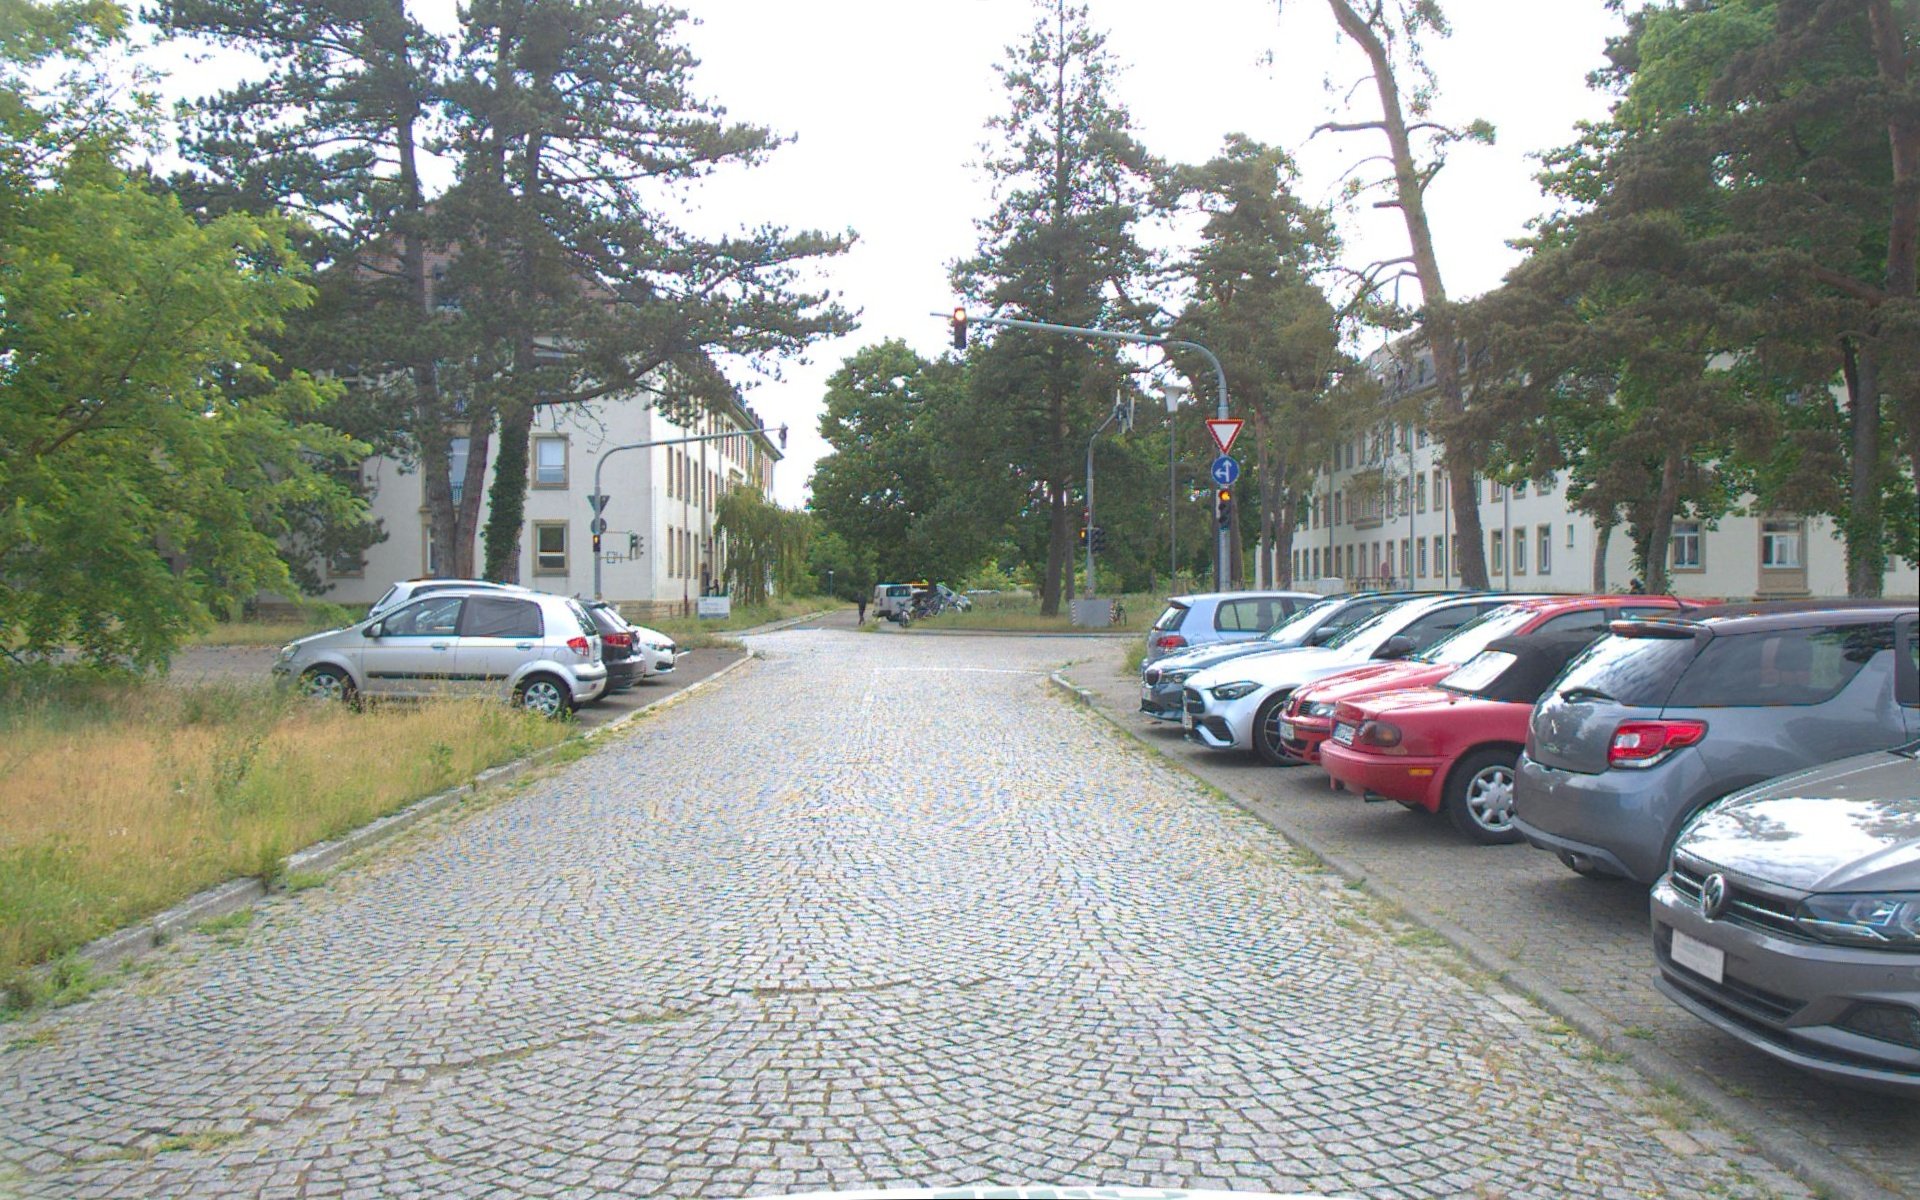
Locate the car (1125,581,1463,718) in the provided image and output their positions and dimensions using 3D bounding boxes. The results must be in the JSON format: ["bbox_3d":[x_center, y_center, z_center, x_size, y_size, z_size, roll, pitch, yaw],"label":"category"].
[{"bbox_3d":[4.100,0.586,20.687,3.847,1.503,1.642,-2,0,-1],"label":"car"}]

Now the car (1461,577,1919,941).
[{"bbox_3d":[4.669,0.656,8.187,3.786,1.498,1.757,-2,0,-4],"label":"car"}]

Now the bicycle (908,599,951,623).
[{"bbox_3d":[-1.389,0.496,76.481,1.932,1.088,0.583,0,0,-27],"label":"bicycle"}]

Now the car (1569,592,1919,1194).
[{"bbox_3d":[4.187,0.704,5.294,3.787,1.498,1.756,-2,0,-5],"label":"car"}]

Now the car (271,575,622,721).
[{"bbox_3d":[-5.941,0.545,19.461,3.631,1.505,1.581,2,0,-5],"label":"car"}]

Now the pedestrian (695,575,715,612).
[{"bbox_3d":[-13.050,-0.318,84.583,0.767,1.869,0.732,0,0,-34],"label":"pedestrian"}]

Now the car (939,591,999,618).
[{"bbox_3d":[0.465,0.244,91.378,3.169,1.441,1.723,-1,0,-5],"label":"car"}]

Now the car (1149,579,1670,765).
[{"bbox_3d":[4.152,0.611,15.549,4.343,1.441,1.866,-2,0,-11],"label":"car"}]

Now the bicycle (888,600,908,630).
[{"bbox_3d":[-2.482,0.601,66.081,0.591,1.152,1.958,0,0,-8],"label":"bicycle"}]

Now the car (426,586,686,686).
[{"bbox_3d":[-6.604,0.574,27.356,3.869,1.446,1.649,2,0,-3],"label":"car"}]

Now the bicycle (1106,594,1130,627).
[{"bbox_3d":[5.492,0.362,57.497,0.574,1.125,1.960,0,0,-2],"label":"bicycle"}]

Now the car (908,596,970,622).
[{"bbox_3d":[-1.072,0.439,84.066,2.949,1.290,1.532,-1,0,-8],"label":"car"}]

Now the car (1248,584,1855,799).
[{"bbox_3d":[4.601,0.670,13.298,4.177,1.441,1.870,-2,0,-3],"label":"car"}]

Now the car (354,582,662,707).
[{"bbox_3d":[-5.942,0.574,22.059,3.673,1.453,1.581,2,0,-5],"label":"car"}]

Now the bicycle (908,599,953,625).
[{"bbox_3d":[-1.272,0.524,71.447,1.936,1.088,0.581,0,0,-32],"label":"bicycle"}]

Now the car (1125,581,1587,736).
[{"bbox_3d":[4.264,0.599,18.242,4.589,1.441,1.869,-2,0,-5],"label":"car"}]

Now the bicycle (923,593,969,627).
[{"bbox_3d":[-0.613,0.418,70.822,1.919,1.408,0.587,0,0,-9],"label":"bicycle"}]

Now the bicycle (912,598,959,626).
[{"bbox_3d":[-1.026,0.482,69.340,1.919,1.152,0.587,0,0,-9],"label":"bicycle"}]

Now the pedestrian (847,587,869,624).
[{"bbox_3d":[-4.640,0.259,75.168,0.729,1.647,0.770,0,0,-26],"label":"pedestrian"}]

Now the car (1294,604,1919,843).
[{"bbox_3d":[4.286,0.733,10.800,3.786,1.258,1.757,-2,0,-4],"label":"car"}]

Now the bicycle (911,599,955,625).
[{"bbox_3d":[-1.173,0.521,72.802,1.936,1.088,0.581,0,0,-32],"label":"bicycle"}]

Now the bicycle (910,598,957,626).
[{"bbox_3d":[-1.112,0.504,69.970,1.919,1.136,0.587,0,0,-9],"label":"bicycle"}]

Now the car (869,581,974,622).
[{"bbox_3d":[-2.070,0.064,87.390,5.265,1.958,2.019,-2,0,-11],"label":"car"}]

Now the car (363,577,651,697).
[{"bbox_3d":[-6.704,0.543,24.808,3.871,1.590,1.648,2,0,-5],"label":"car"}]
